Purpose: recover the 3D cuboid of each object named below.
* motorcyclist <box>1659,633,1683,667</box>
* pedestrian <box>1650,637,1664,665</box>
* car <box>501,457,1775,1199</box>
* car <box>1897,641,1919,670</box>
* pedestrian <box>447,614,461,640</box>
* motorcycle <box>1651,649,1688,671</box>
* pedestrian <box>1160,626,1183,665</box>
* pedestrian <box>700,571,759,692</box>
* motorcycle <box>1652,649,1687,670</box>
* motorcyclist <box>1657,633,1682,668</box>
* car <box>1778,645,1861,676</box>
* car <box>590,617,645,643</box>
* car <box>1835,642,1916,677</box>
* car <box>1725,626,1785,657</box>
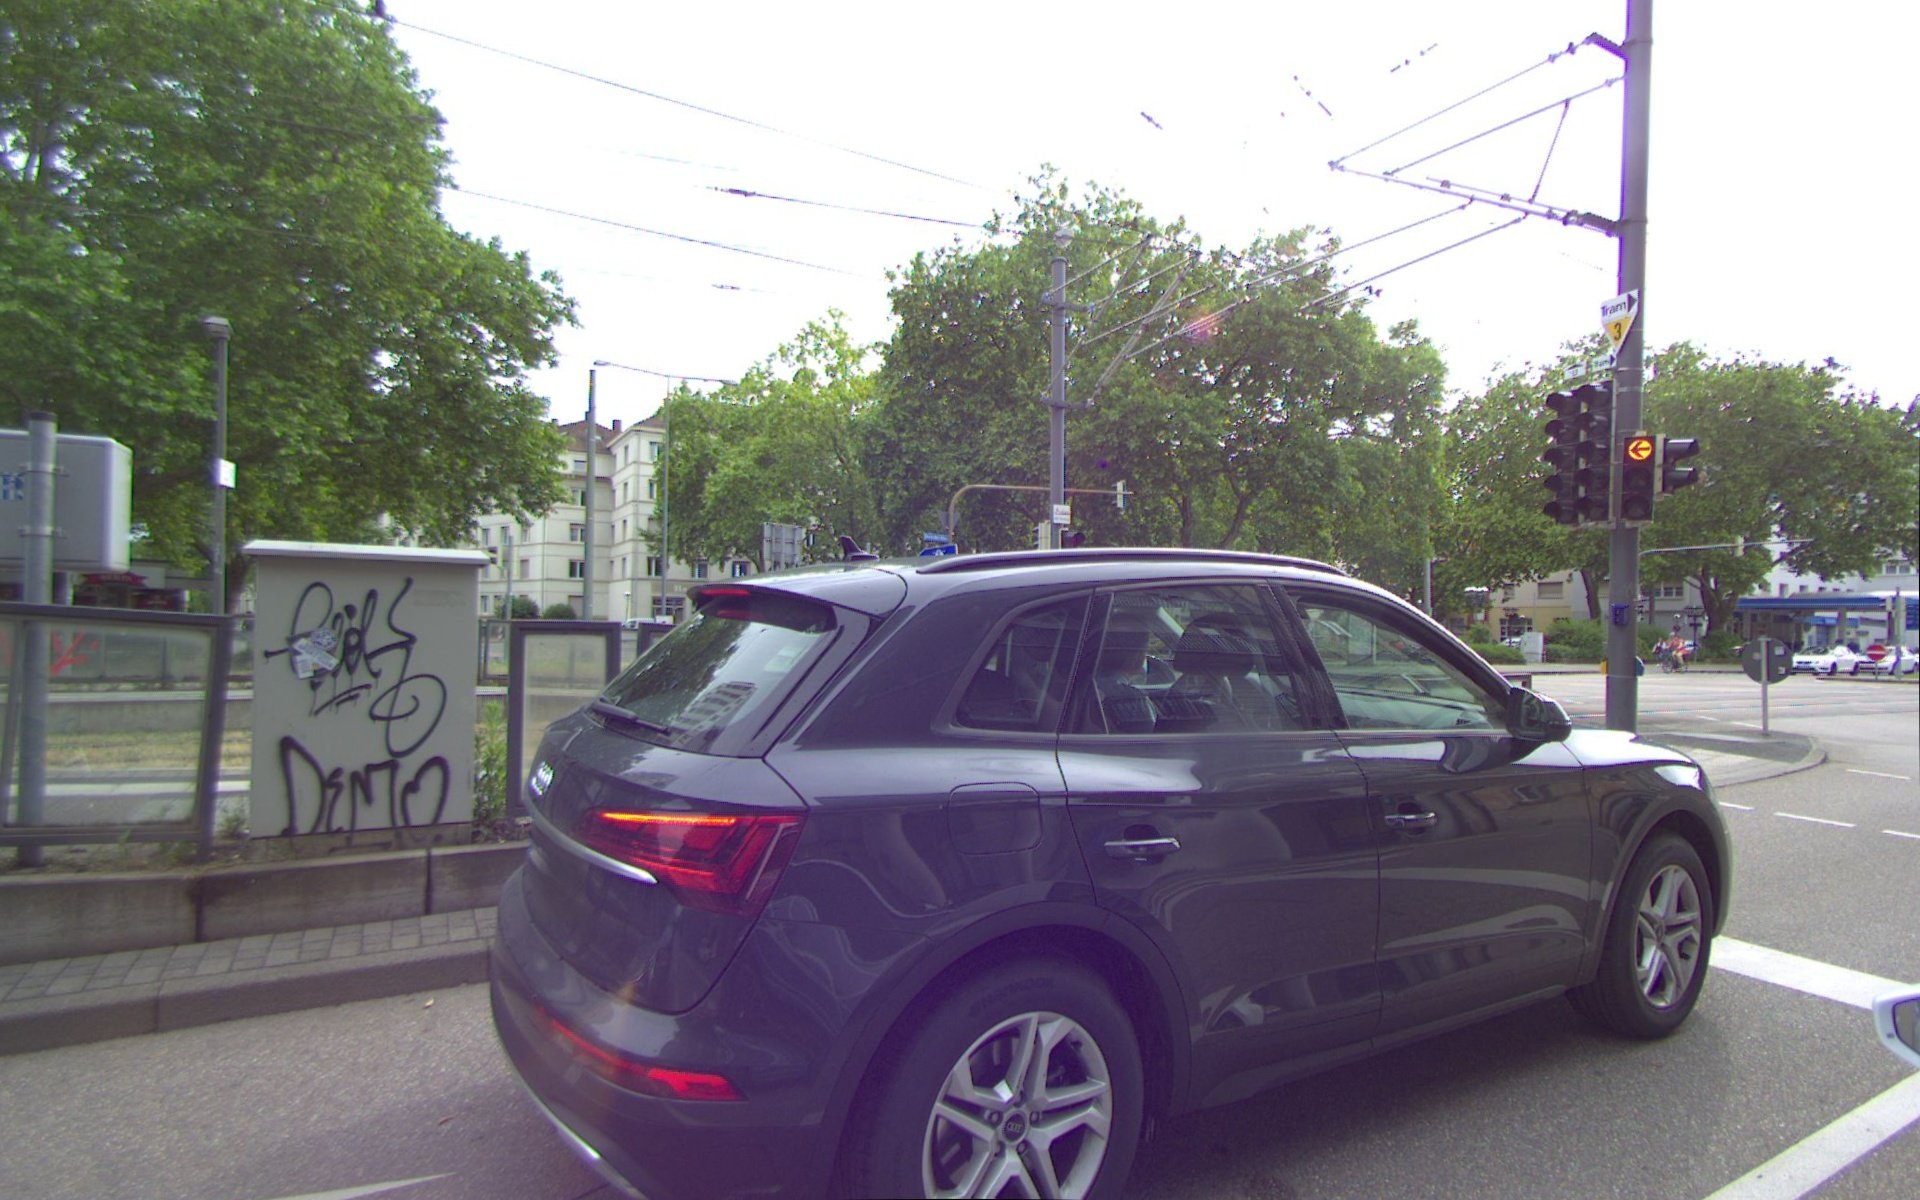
[{"bbox_3d":[33.377,2.341,47.132,0.863,1.540,0.617,2,-1,-30],"label":"motorcyclist"},{"bbox_3d":[37.787,2.766,54.434,0.421,1.479,0.474,2,-1,-30],"label":"pedestrian"},{"bbox_3d":[0.809,0.646,3.451,4.177,1.658,1.725,2,0,-30],"label":"car"},{"bbox_3d":[52.766,3.034,54.593,3.593,1.497,1.649,2,0,-29],"label":"car"},{"bbox_3d":[-39.337,2.099,78.134,0.657,2.040,0.675,2,0,21],"label":"pedestrian"},{"bbox_3d":[32.167,2.722,45.538,1.928,0.941,0.604,2,-1,-30],"label":"motorcycle"},{"bbox_3d":[8.586,1.842,40.795,0.648,1.530,0.679,0,-1,44],"label":"pedestrian"},{"bbox_3d":[-3.513,0.469,15.287,0.658,1.773,0.732,2,0,-30],"label":"pedestrian"},{"bbox_3d":[33.242,2.766,47.055,1.928,0.941,0.604,2,-1,-30],"label":"motorcycle"},{"bbox_3d":[32.166,2.296,45.512,0.863,1.540,0.617,2,-1,-30],"label":"motorcyclist"},{"bbox_3d":[41.368,2.909,48.329,4.025,1.338,1.739,2,0,-29],"label":"car"},{"bbox_3d":[-23.974,2.088,70.358,3.426,1.731,1.630,2,-1,-29],"label":"car"},{"bbox_3d":[46.963,3.022,51.512,3.953,1.615,1.984,2,0,-30],"label":"car"},{"bbox_3d":[54.952,2.890,69.391,3.953,2.040,1.984,2,-1,-30],"label":"car"}]
